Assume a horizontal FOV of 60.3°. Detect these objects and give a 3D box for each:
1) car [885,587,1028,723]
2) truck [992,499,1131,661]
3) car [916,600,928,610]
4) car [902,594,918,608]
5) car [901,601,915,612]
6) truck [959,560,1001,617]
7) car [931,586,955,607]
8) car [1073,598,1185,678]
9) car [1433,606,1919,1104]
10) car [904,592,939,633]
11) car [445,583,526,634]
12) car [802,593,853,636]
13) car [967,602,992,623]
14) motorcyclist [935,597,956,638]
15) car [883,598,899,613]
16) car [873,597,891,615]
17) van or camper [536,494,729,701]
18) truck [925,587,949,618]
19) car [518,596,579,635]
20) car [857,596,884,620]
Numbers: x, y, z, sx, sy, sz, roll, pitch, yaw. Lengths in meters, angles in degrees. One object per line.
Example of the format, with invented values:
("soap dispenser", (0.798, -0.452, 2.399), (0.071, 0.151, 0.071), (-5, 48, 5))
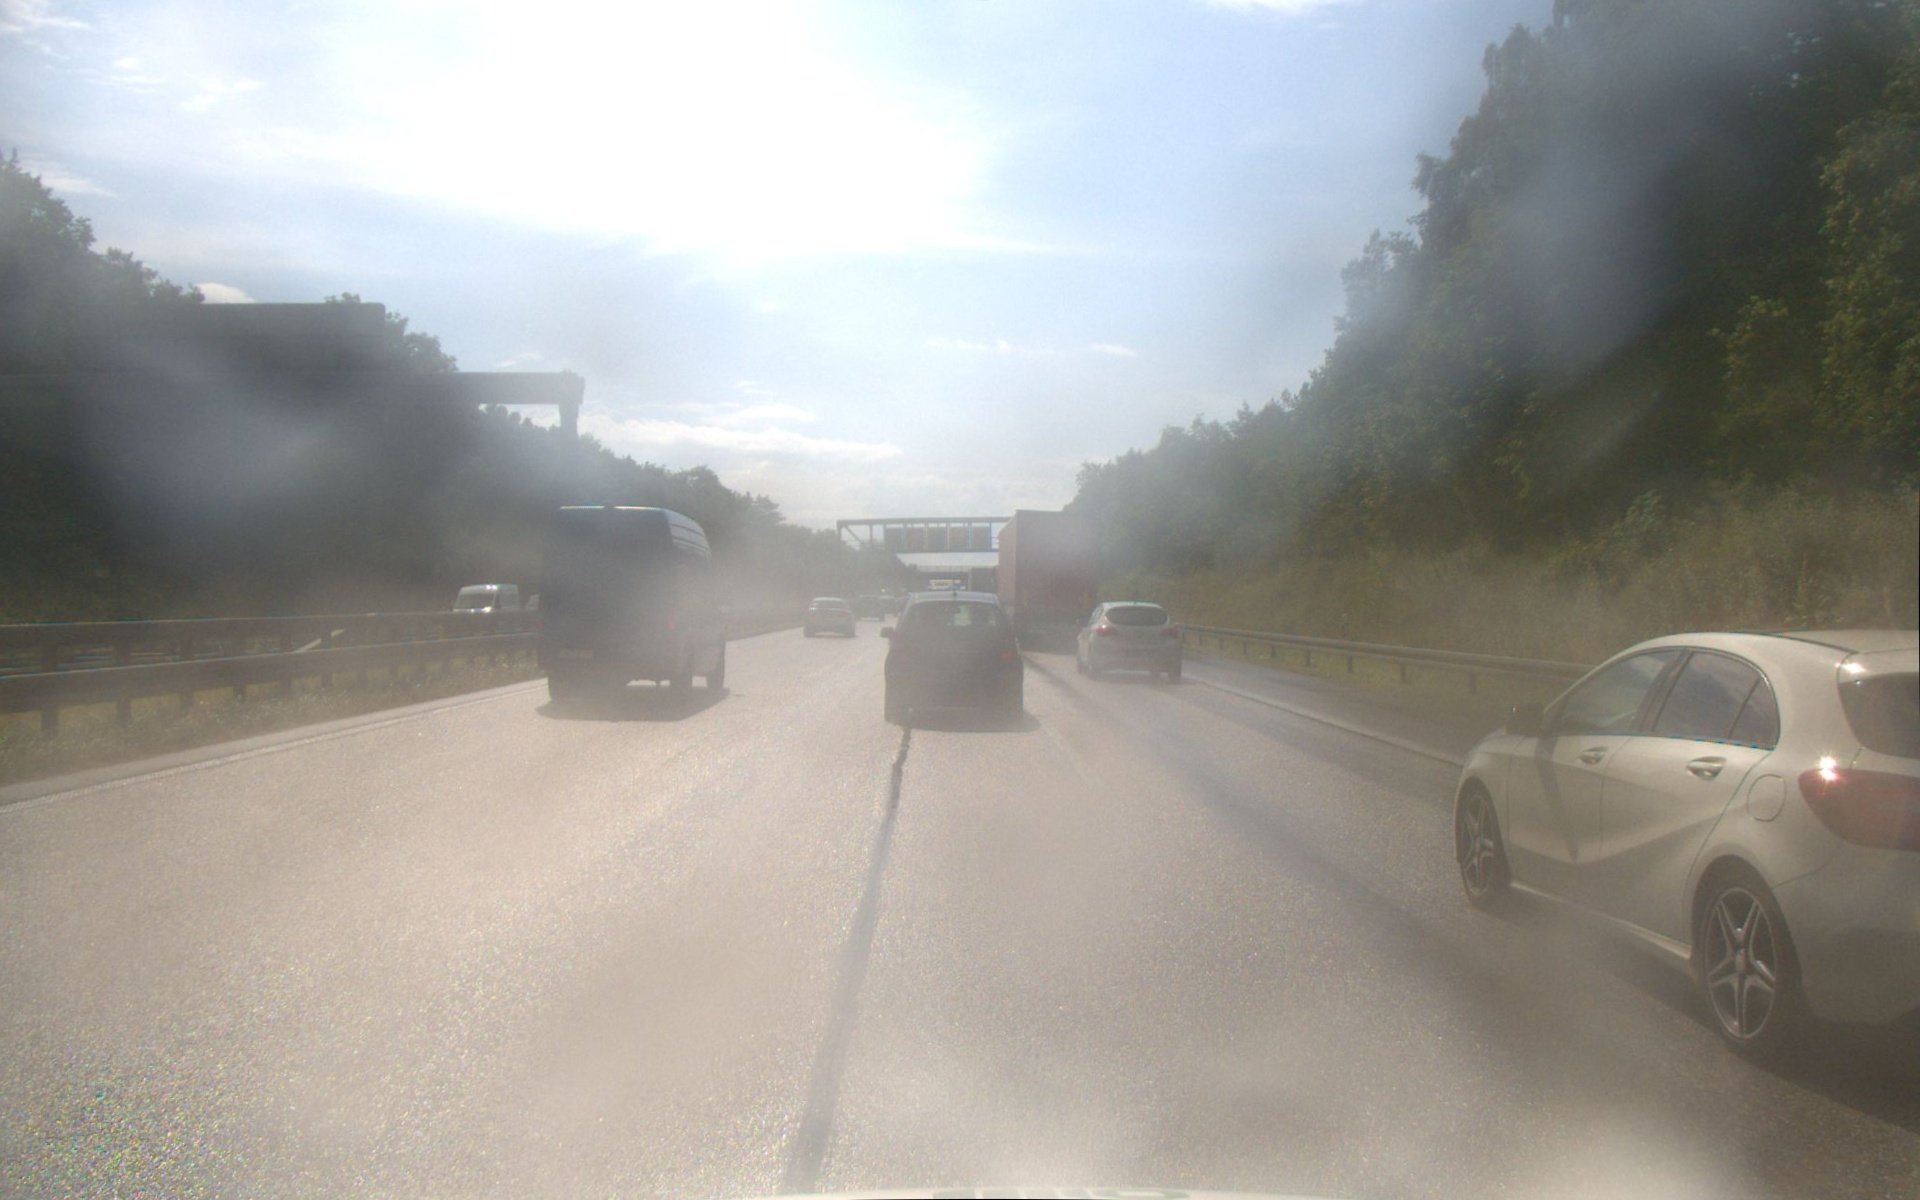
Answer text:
("car", (-0.114, 0.656, 21.496), (1.683, 1.595, 3.483), (1, 0, -2))
("truck", (3.218, -0.586, 58.139), (3.575, 4.803, 16.775), (1, 0, -1))
("car", (-5.186, 0.687, 227.667), (1.518, 1.289, 3.482), (1, 0, -3))
("car", (-6.344, 0.085, 210.712), (1.953, 1.731, 4.000), (0, 0, 0))
("car", (-5.932, 0.721, 188.825), (1.518, 1.289, 3.482), (1, 0, -3))
("truck", (1.650, -0.933, 139.927), (3.190, 4.558, 12.419), (1, 0, -1))
("car", (-1.182, -0.260, 113.801), (1.521, 1.407, 3.208), (1, 0, -2))
("car", (3.295, 0.716, 32.864), (1.647, 1.467, 3.903), (1, 0, -2))
("car", (3.459, 0.770, 6.977), (1.658, 1.450, 4.219), (1, 0, -1))
("car", (-1.794, 0.556, 75.736), (1.501, 1.777, 3.483), (1, 0, -2))
("car", (-22.197, 0.391, 77.610), (2.101, 2.288, 5.978), (1, 0, -1))
("car", (-5.070, 0.554, 63.726), (1.817, 1.578, 3.483), (1, 0, -2))
("car", (1.286, 0.844, 111.758), (1.521, 1.407, 3.208), (1, 0, -2))
("motorcyclist", (-0.604, 0.702, 67.171), (0.785, 1.662, 1.013), (1, 0, -3))
("car", (-6.637, 0.535, 159.744), (1.484, 1.414, 3.271), (1, 0, -2))
("car", (-6.375, 0.481, 134.763), (1.431, 1.418, 3.310), (1, 0, -2))
("van or camper", (-4.713, -0.025, 24.614), (1.953, 2.715, 5.382), (1, 0, -2))
("truck", (-2.211, 0.245, 160.099), (2.148, 2.926, 4.847), (1, 0, -2))
("car", (-18.205, 0.662, 73.372), (1.712, 1.663, 3.999), (1, 0, -1))
("car", (-5.878, 0.517, 108.492), (1.716, 1.482, 3.388), (1, 0, -2))
